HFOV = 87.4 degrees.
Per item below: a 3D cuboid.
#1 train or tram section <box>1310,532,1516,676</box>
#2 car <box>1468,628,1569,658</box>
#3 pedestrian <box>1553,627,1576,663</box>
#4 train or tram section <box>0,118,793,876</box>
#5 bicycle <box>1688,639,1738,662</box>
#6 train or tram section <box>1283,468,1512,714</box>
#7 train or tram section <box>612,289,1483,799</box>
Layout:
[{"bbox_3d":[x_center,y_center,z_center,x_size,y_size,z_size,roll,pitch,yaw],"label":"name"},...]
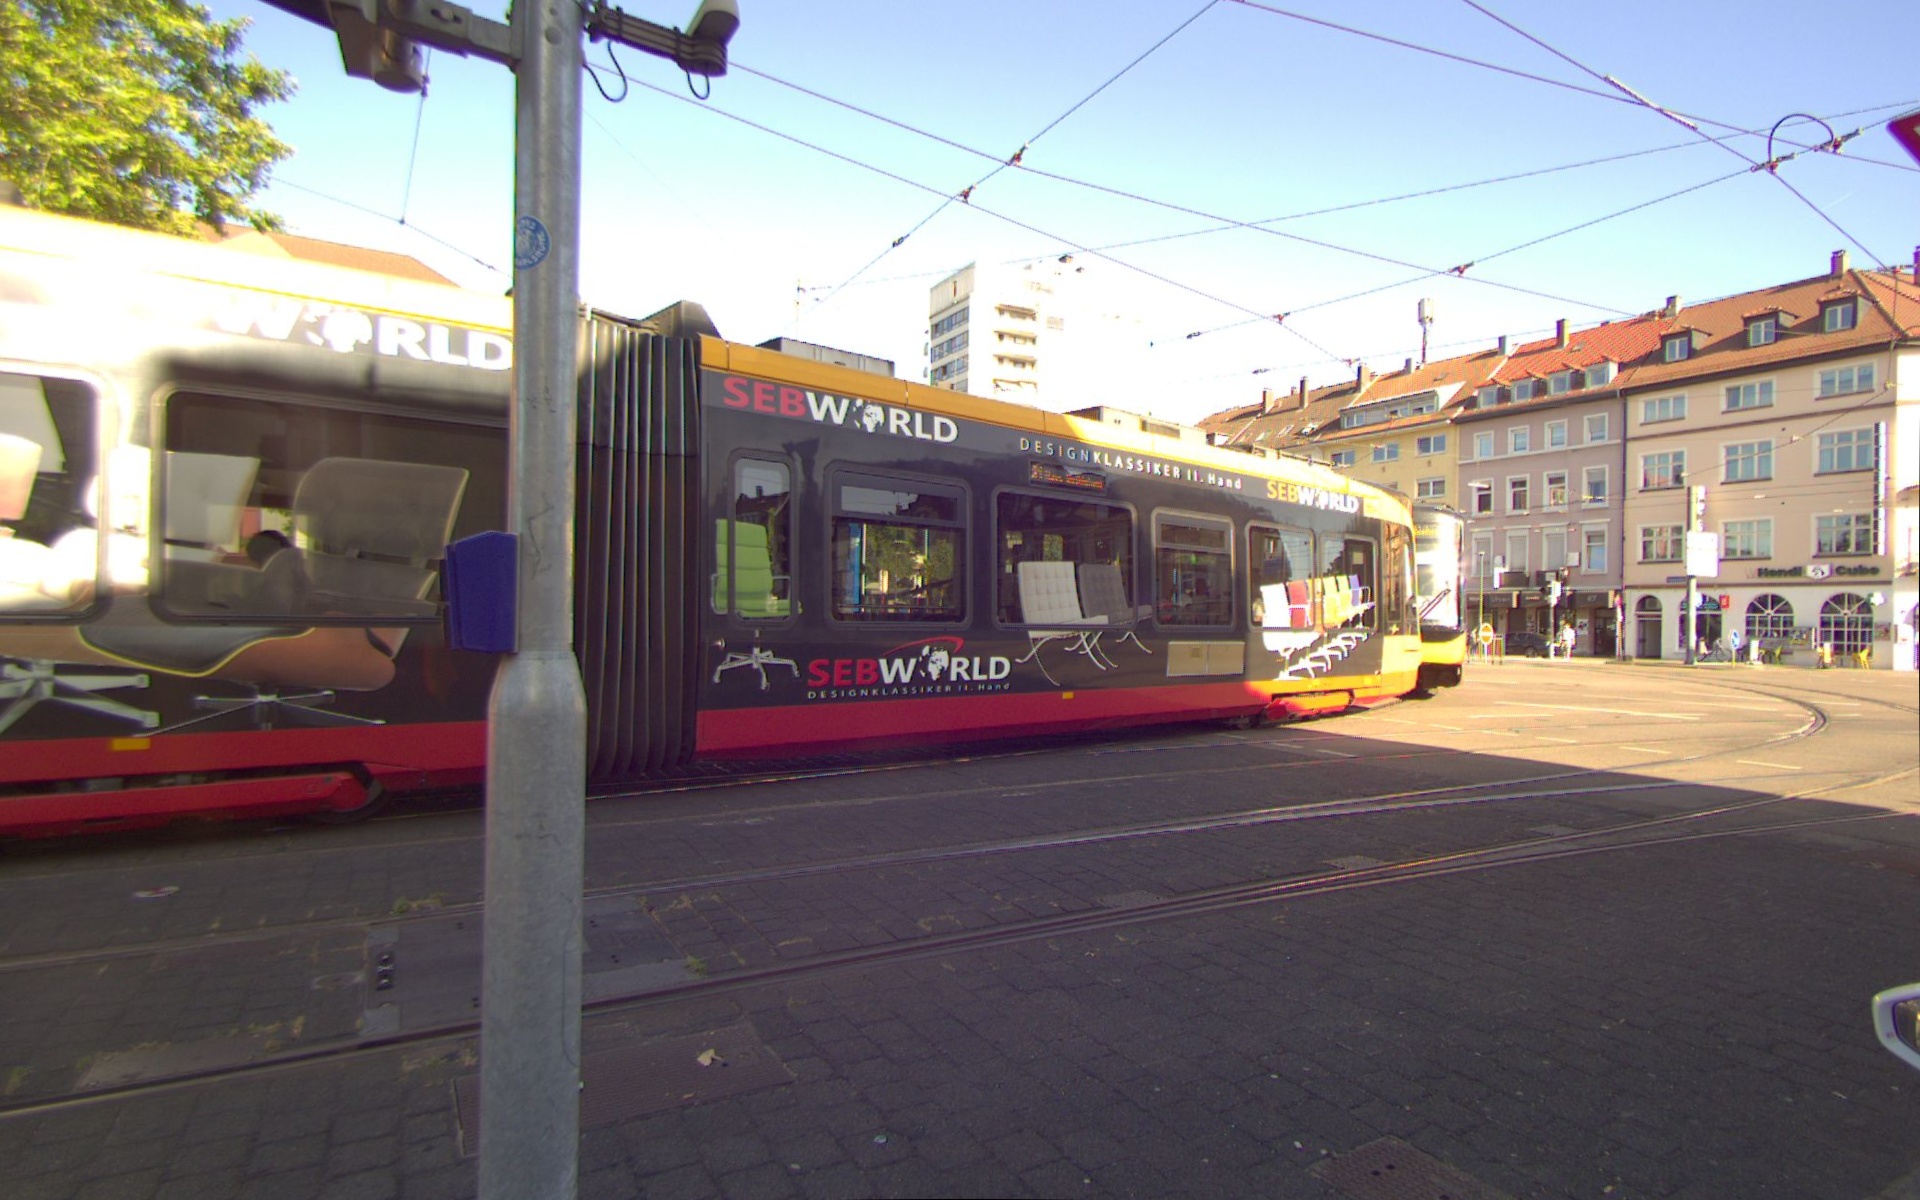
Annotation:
[{"bbox_3d":[13.724,0.216,31.868,3.003,3.661,12.511,1,-1,10],"label":"train or tram section"},{"bbox_3d":[30.550,2.334,55.075,1.725,1.459,4.614,2,-1,-32],"label":"car"},{"bbox_3d":[28.519,2.123,47.373,0.665,1.648,0.720,1,-1,-34],"label":"pedestrian"},{"bbox_3d":[-6.903,-0.527,5.093,11.832,3.661,3.035,2,-1,-36],"label":"train or tram section"},{"bbox_3d":[37.658,2.519,50.272,0.578,1.081,1.929,1,-1,-36],"label":"bicycle"},{"bbox_3d":[9.634,0.002,20.951,3.011,3.661,12.091,0,-1,30],"label":"train or tram section"},{"bbox_3d":[2.254,-0.263,12.258,12.016,3.661,3.029,2,-1,-40],"label":"train or tram section"}]
